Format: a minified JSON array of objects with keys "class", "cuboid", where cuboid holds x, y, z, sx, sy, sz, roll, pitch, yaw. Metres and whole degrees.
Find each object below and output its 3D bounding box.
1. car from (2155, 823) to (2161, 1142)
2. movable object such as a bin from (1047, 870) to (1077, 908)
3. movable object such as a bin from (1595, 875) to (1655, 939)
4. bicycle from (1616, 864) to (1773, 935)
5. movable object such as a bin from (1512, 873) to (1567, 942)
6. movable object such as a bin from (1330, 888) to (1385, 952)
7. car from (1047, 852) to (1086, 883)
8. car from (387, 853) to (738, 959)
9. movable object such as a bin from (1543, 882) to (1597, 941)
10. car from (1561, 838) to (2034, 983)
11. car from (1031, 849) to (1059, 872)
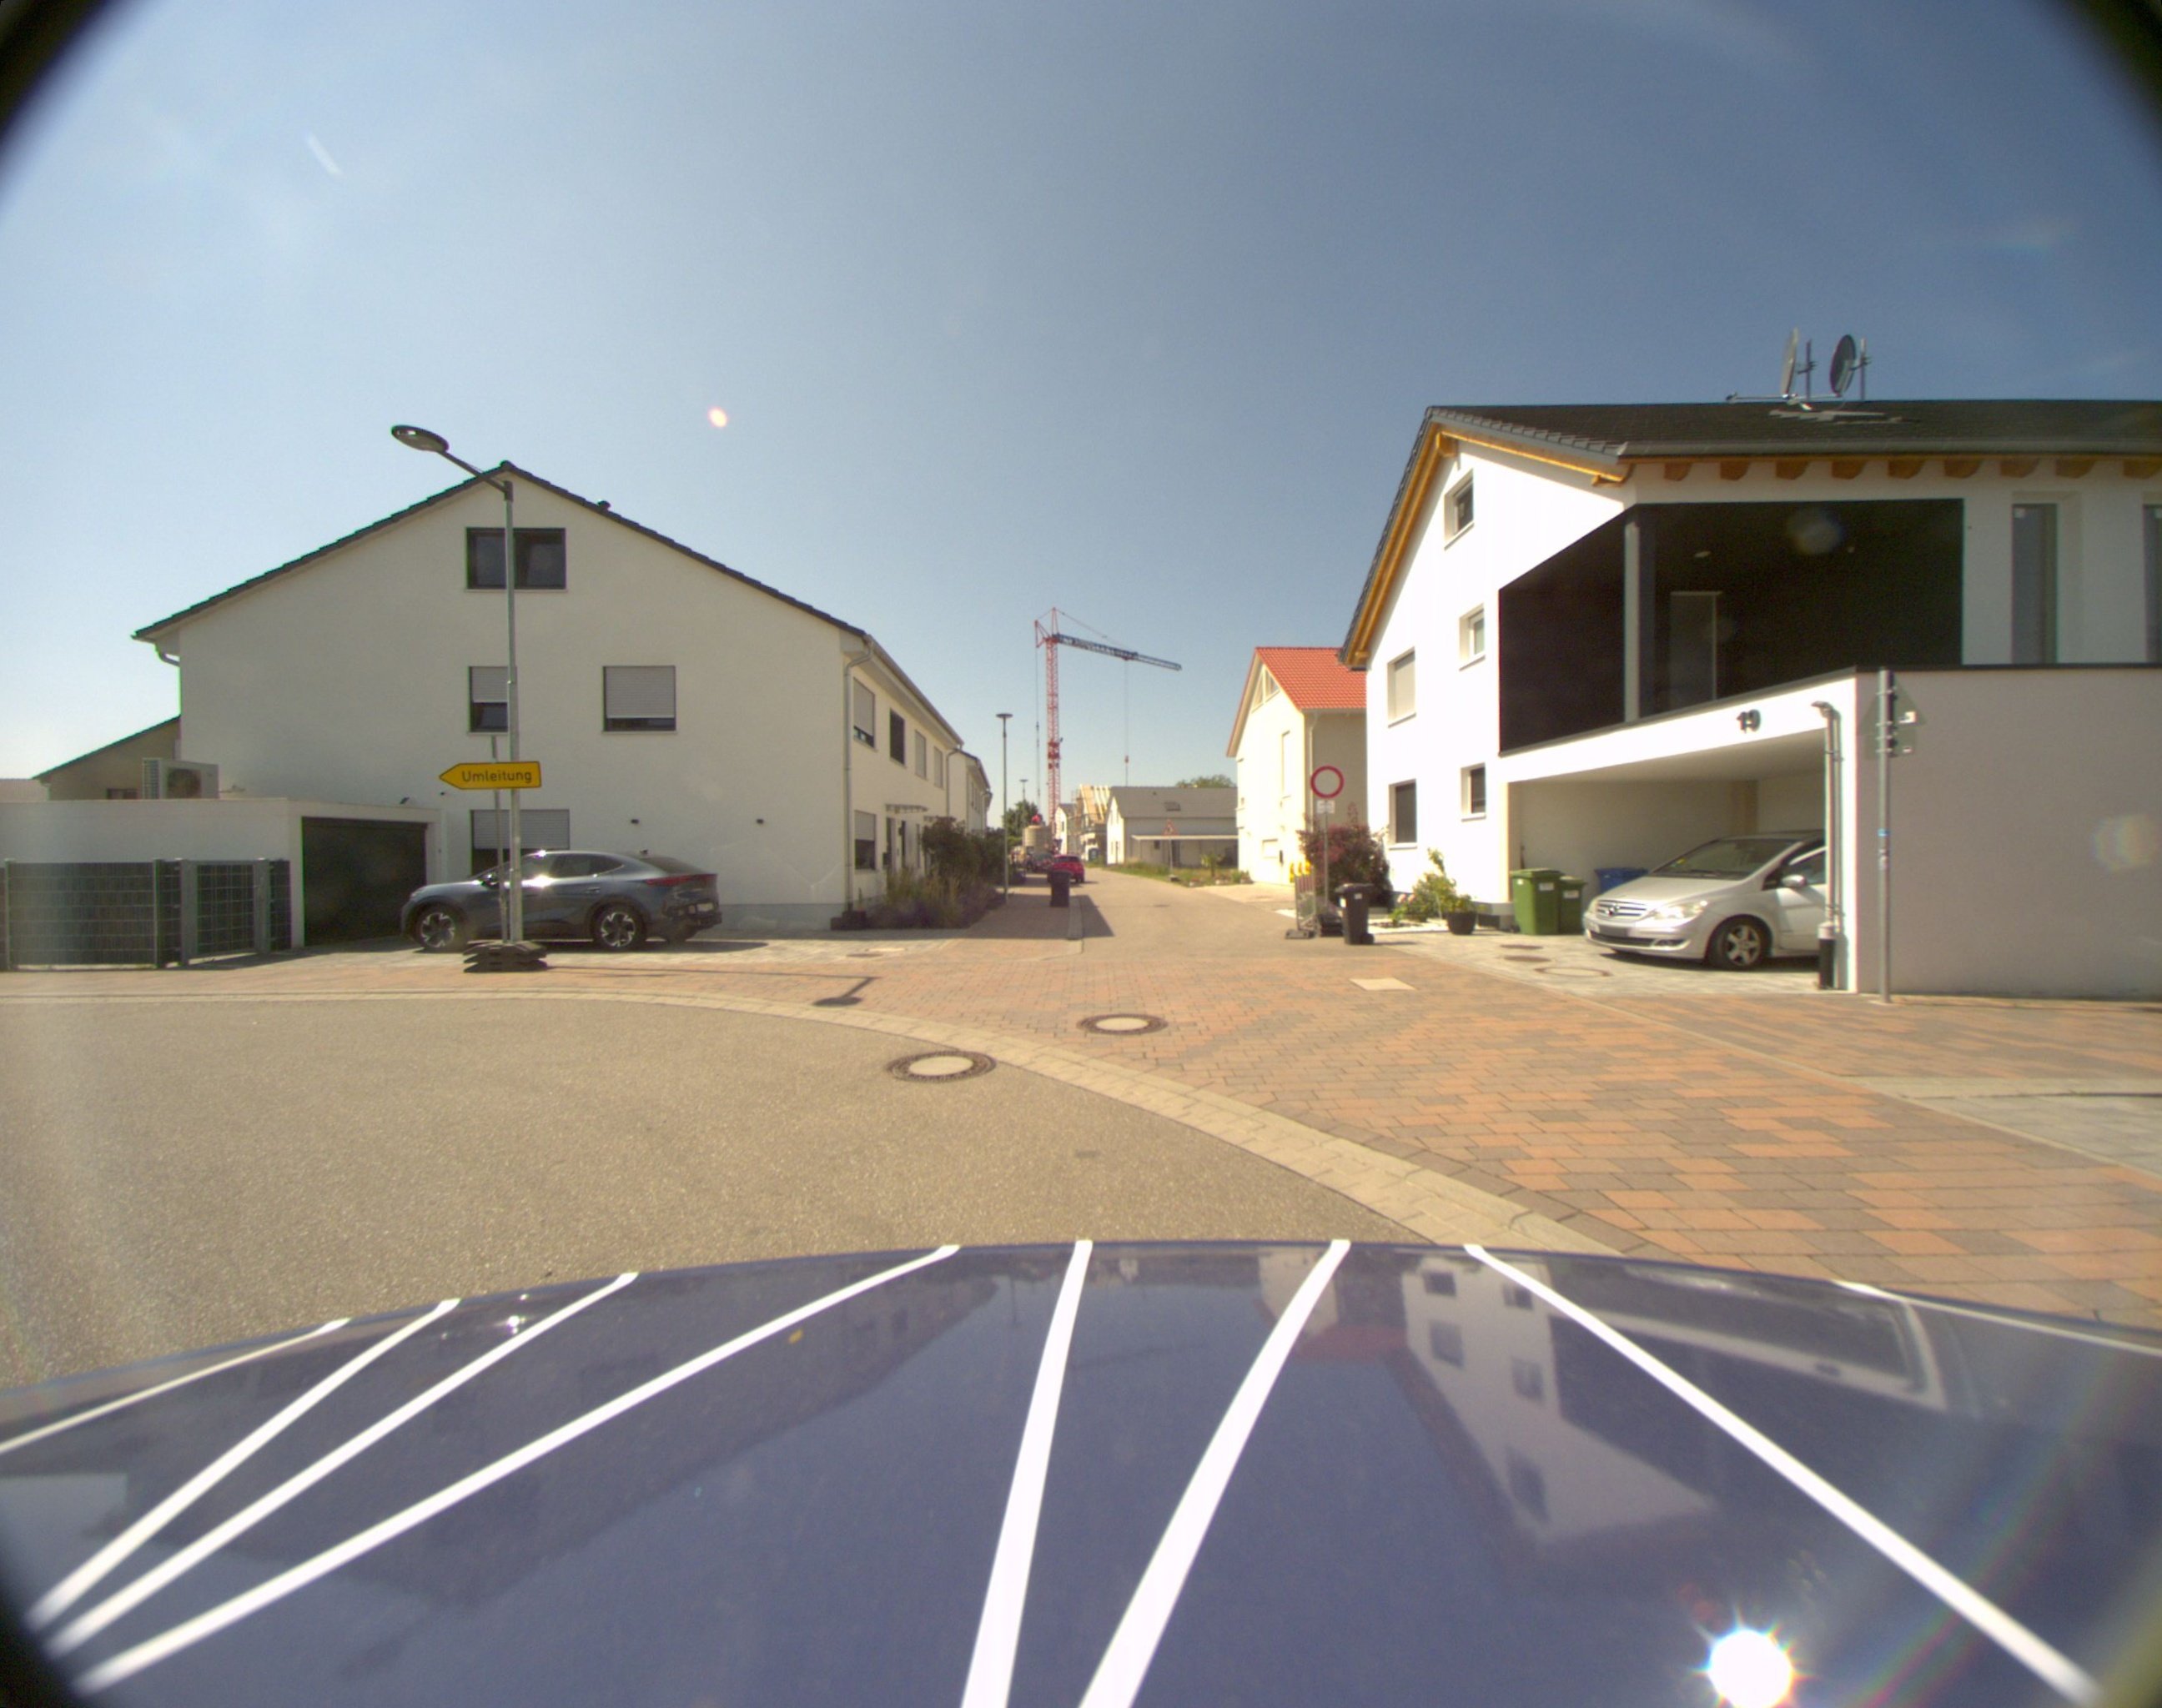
[{"class":"car","cuboid":[7.818,0.520,2.881,4.748,1.864,1.938,0,1,0]},{"class":"movable object such as a bin","cuboid":[-0.557,1.004,21.893,0.823,1.058,0.590,-1,2,-2]},{"class":"movable object such as a bin","cuboid":[8.932,0.862,12.494,0.500,0.981,0.677,-1,2,-2]},{"class":"bicycle","cuboid":[10.434,0.757,12.957,2.132,1.120,0.778,-1,2,-6]},{"class":"movable object such as a bin","cuboid":[7.430,0.860,12.334,0.500,1.085,0.602,-1,-1,-2]},{"class":"movable object such as a bin","cuboid":[4.249,1.010,11.705,0.618,0.931,0.565,-1,0,-2]},{"class":"car","cuboid":[-0.788,0.656,39.698,1.911,1.470,3.998,-1,1,-2]},{"class":"car","cuboid":[-8.216,0.788,12.362,4.347,1.549,1.960,-1,0,0]},{"class":"movable object such as a bin","cuboid":[7.969,0.924,12.395,0.500,0.900,0.561,-1,2,-2]},{"class":"car","cuboid":[8.380,0.602,9.138,4.163,1.553,1.744,0,0,-3]},{"class":"car","cuboid":[-2.839,0.487,59.252,1.803,1.609,3.672,-1,1,-8]}]
